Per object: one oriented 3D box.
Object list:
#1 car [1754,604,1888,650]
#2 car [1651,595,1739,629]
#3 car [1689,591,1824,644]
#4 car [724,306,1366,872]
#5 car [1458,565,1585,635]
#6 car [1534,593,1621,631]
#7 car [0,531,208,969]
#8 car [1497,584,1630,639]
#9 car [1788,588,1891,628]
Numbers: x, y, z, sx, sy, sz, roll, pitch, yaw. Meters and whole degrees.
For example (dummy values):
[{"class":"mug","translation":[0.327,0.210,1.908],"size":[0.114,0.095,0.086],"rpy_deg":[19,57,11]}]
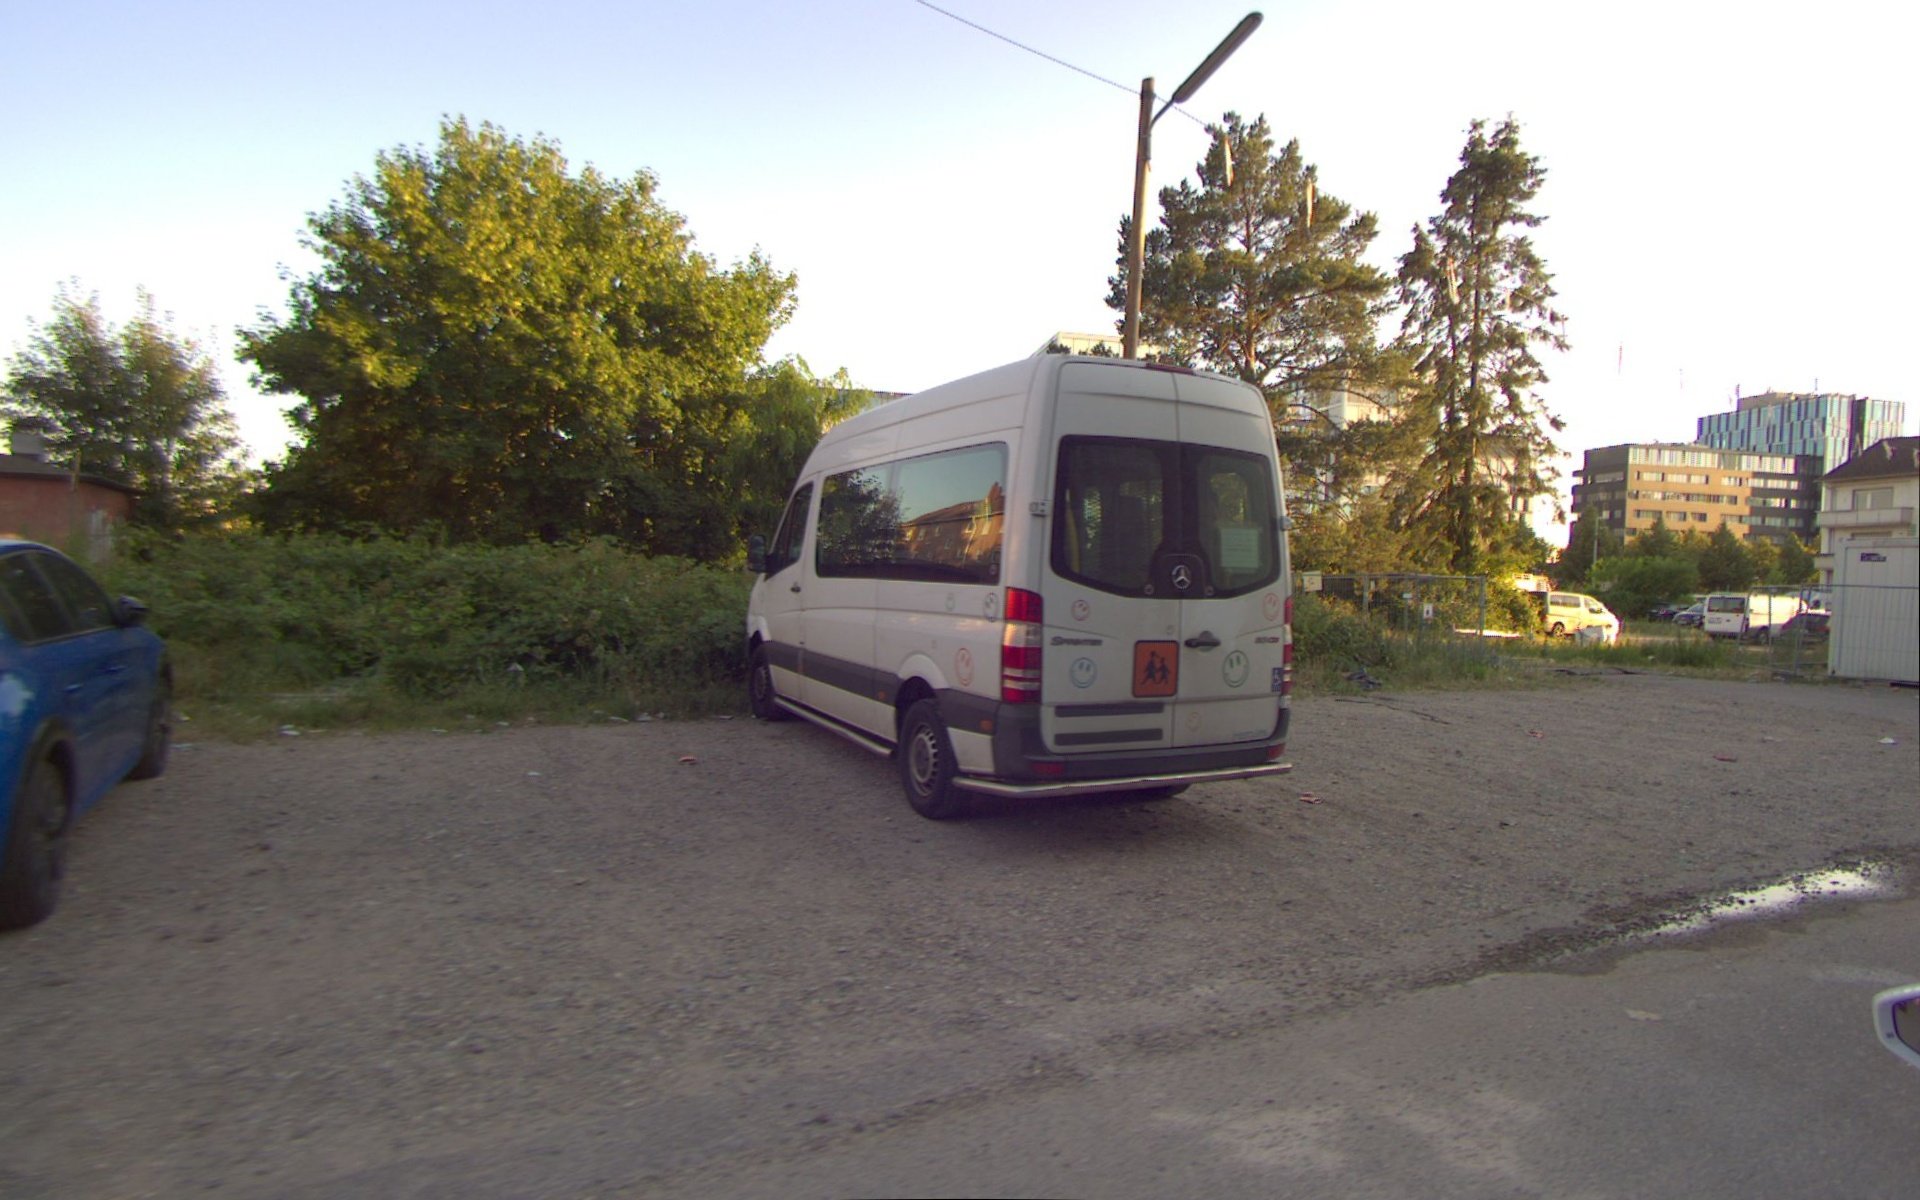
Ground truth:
[{"class":"car","translation":[34.370,1.078,40.091],"size":[4.985,1.675,2.007],"rpy_deg":[2,1,-23]},{"class":"car","translation":[48.943,0.783,66.878],"size":[4.980,2.041,2.305],"rpy_deg":[2,1,-20]},{"class":"car","translation":[33.845,0.743,42.693],"size":[4.985,2.041,2.303],"rpy_deg":[2,1,-23]},{"class":"car","translation":[0.004,-0.141,7.761],"size":[2.194,2.661,5.666],"rpy_deg":[1,2,-27]},{"class":"car","translation":[23.522,0.014,42.079],"size":[4.786,2.728,1.990],"rpy_deg":[2,1,-21]},{"class":"car","translation":[36.345,0.712,59.133],"size":[4.792,2.001,1.988],"rpy_deg":[2,1,-25]},{"class":"car","translation":[-4.769,0.396,4.568],"size":[1.708,1.449,3.817],"rpy_deg":[1,2,-30]},{"class":"car","translation":[24.091,0.458,40.121],"size":[4.786,2.001,1.990],"rpy_deg":[2,1,-21]},{"class":"car","translation":[50.877,0.461,58.100],"size":[4.981,2.041,2.305],"rpy_deg":[2,1,-20]}]
